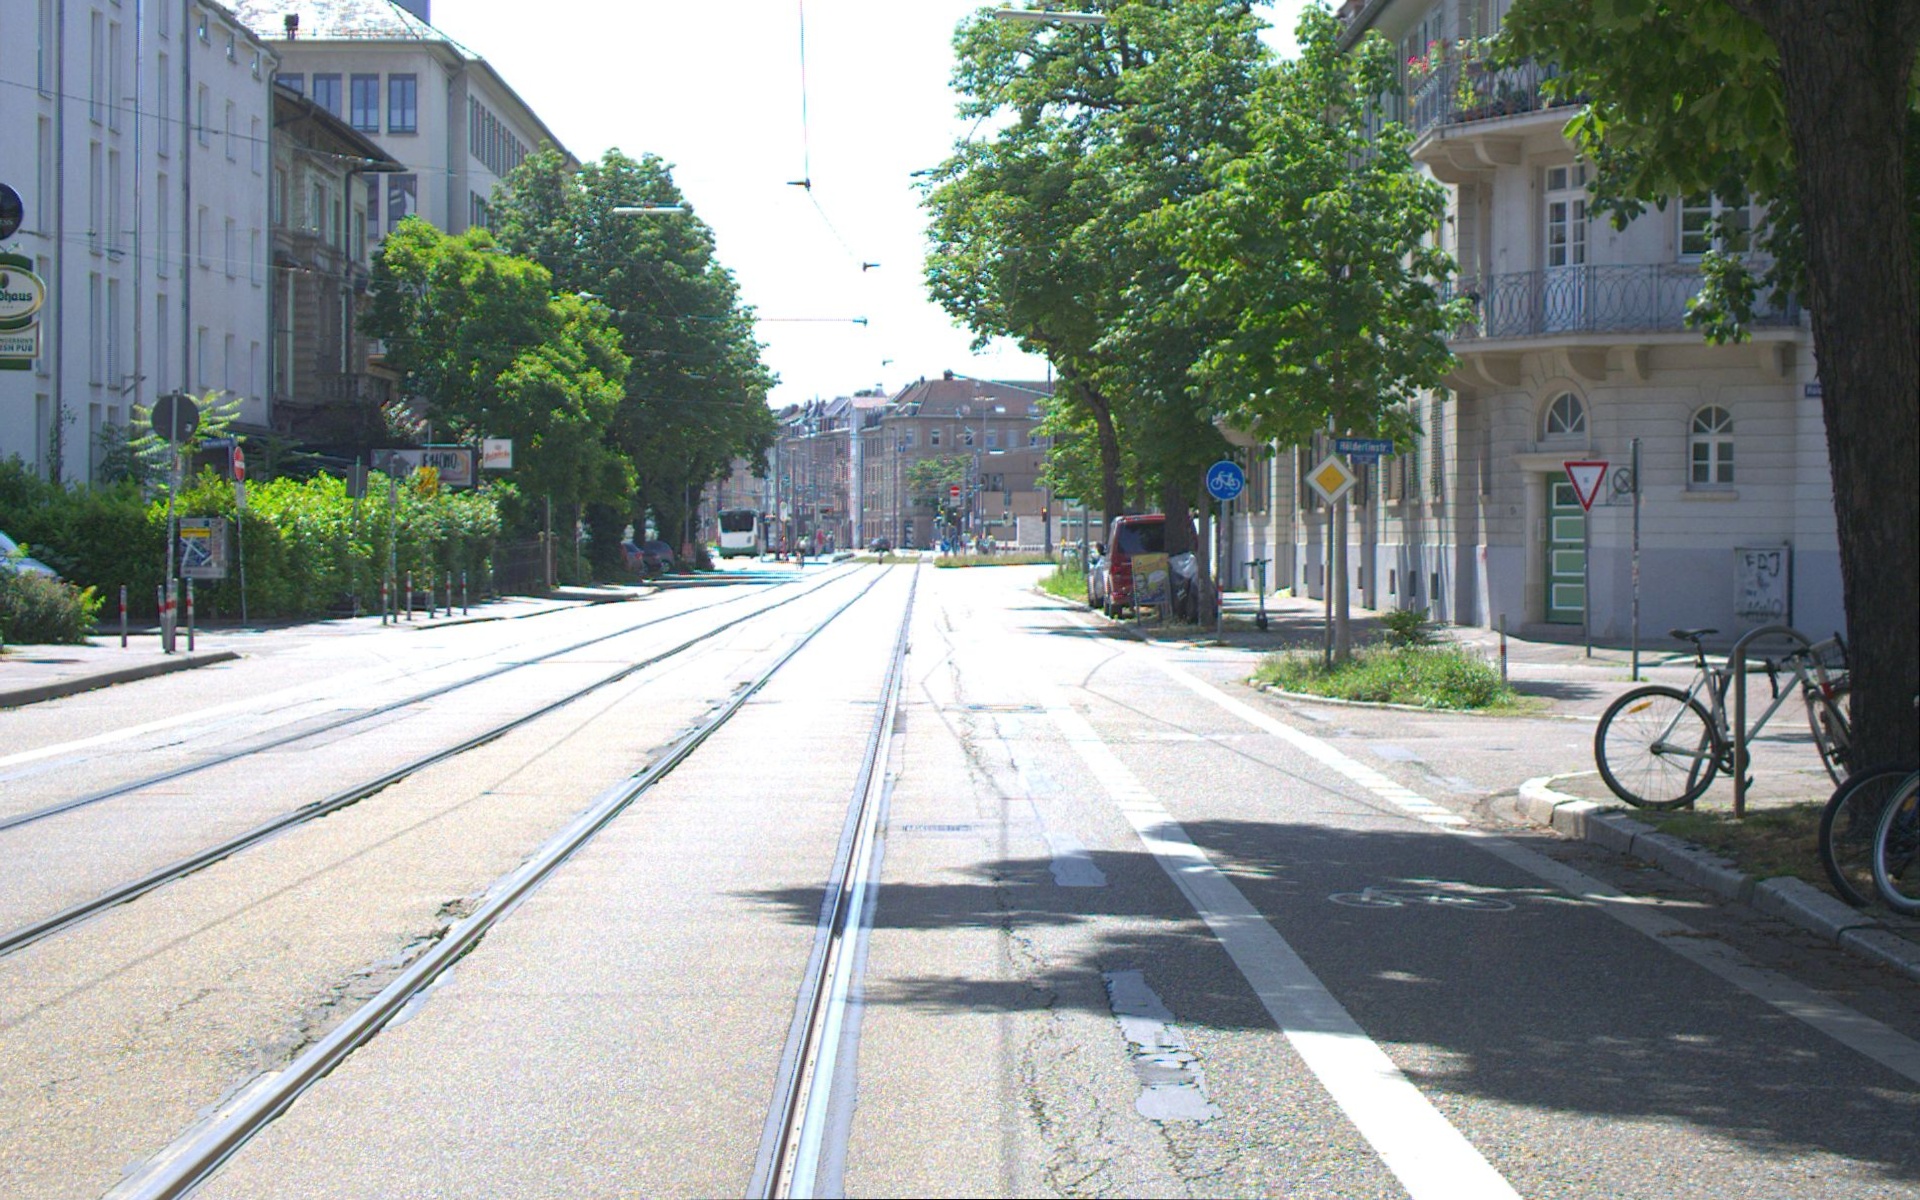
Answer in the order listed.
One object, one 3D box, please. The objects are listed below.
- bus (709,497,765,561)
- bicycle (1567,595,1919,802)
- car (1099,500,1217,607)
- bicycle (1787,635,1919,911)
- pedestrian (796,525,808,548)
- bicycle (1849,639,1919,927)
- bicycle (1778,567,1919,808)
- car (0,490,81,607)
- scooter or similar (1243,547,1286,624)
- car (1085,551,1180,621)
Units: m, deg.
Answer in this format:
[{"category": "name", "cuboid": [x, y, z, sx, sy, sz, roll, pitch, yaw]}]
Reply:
[{"category": "bus", "cuboid": [-14.579, -4.634, 225.865, 2.931, 3.923, 11.275, 3, 0, -1]}, {"category": "bicycle", "cuboid": [4.274, 0.532, 18.787, 1.816, 1.109, 0.493, 0, 0, -1]}, {"category": "car", "cuboid": [3.877, -0.947, 67.919, 1.993, 2.028, 4.697, 1, 1, -1]}, {"category": "bicycle", "cuboid": [4.498, 0.699, 14.201, 2.010, 1.109, 0.640, 0, 0, 2]}, {"category": "pedestrian", "cuboid": [-8.130, -3.260, 177.374, 0.491, 1.169, 0.590, 0, 1, -15]}, {"category": "bicycle", "cuboid": [4.569, 0.709, 13.575, 1.963, 1.109, 0.598, 0, 0, 2]}, {"category": "bicycle", "cuboid": [5.032, 0.449, 18.527, 0.580, 1.227, 2.007, 0, 0, -6]}, {"category": "car", "cuboid": [-17.126, -0.893, 57.084, 4.484, 1.897, 1.998, 2, 1, 17]}, {"category": "scooter or similar", "cuboid": [4.914, -0.239, 55.558, 0.501, 1.225, 1.573, 1, 1, -1]}, {"category": "car", "cuboid": [3.759, -0.331, 75.405, 1.784, 1.468, 3.772, 1, 1, -1]}]
